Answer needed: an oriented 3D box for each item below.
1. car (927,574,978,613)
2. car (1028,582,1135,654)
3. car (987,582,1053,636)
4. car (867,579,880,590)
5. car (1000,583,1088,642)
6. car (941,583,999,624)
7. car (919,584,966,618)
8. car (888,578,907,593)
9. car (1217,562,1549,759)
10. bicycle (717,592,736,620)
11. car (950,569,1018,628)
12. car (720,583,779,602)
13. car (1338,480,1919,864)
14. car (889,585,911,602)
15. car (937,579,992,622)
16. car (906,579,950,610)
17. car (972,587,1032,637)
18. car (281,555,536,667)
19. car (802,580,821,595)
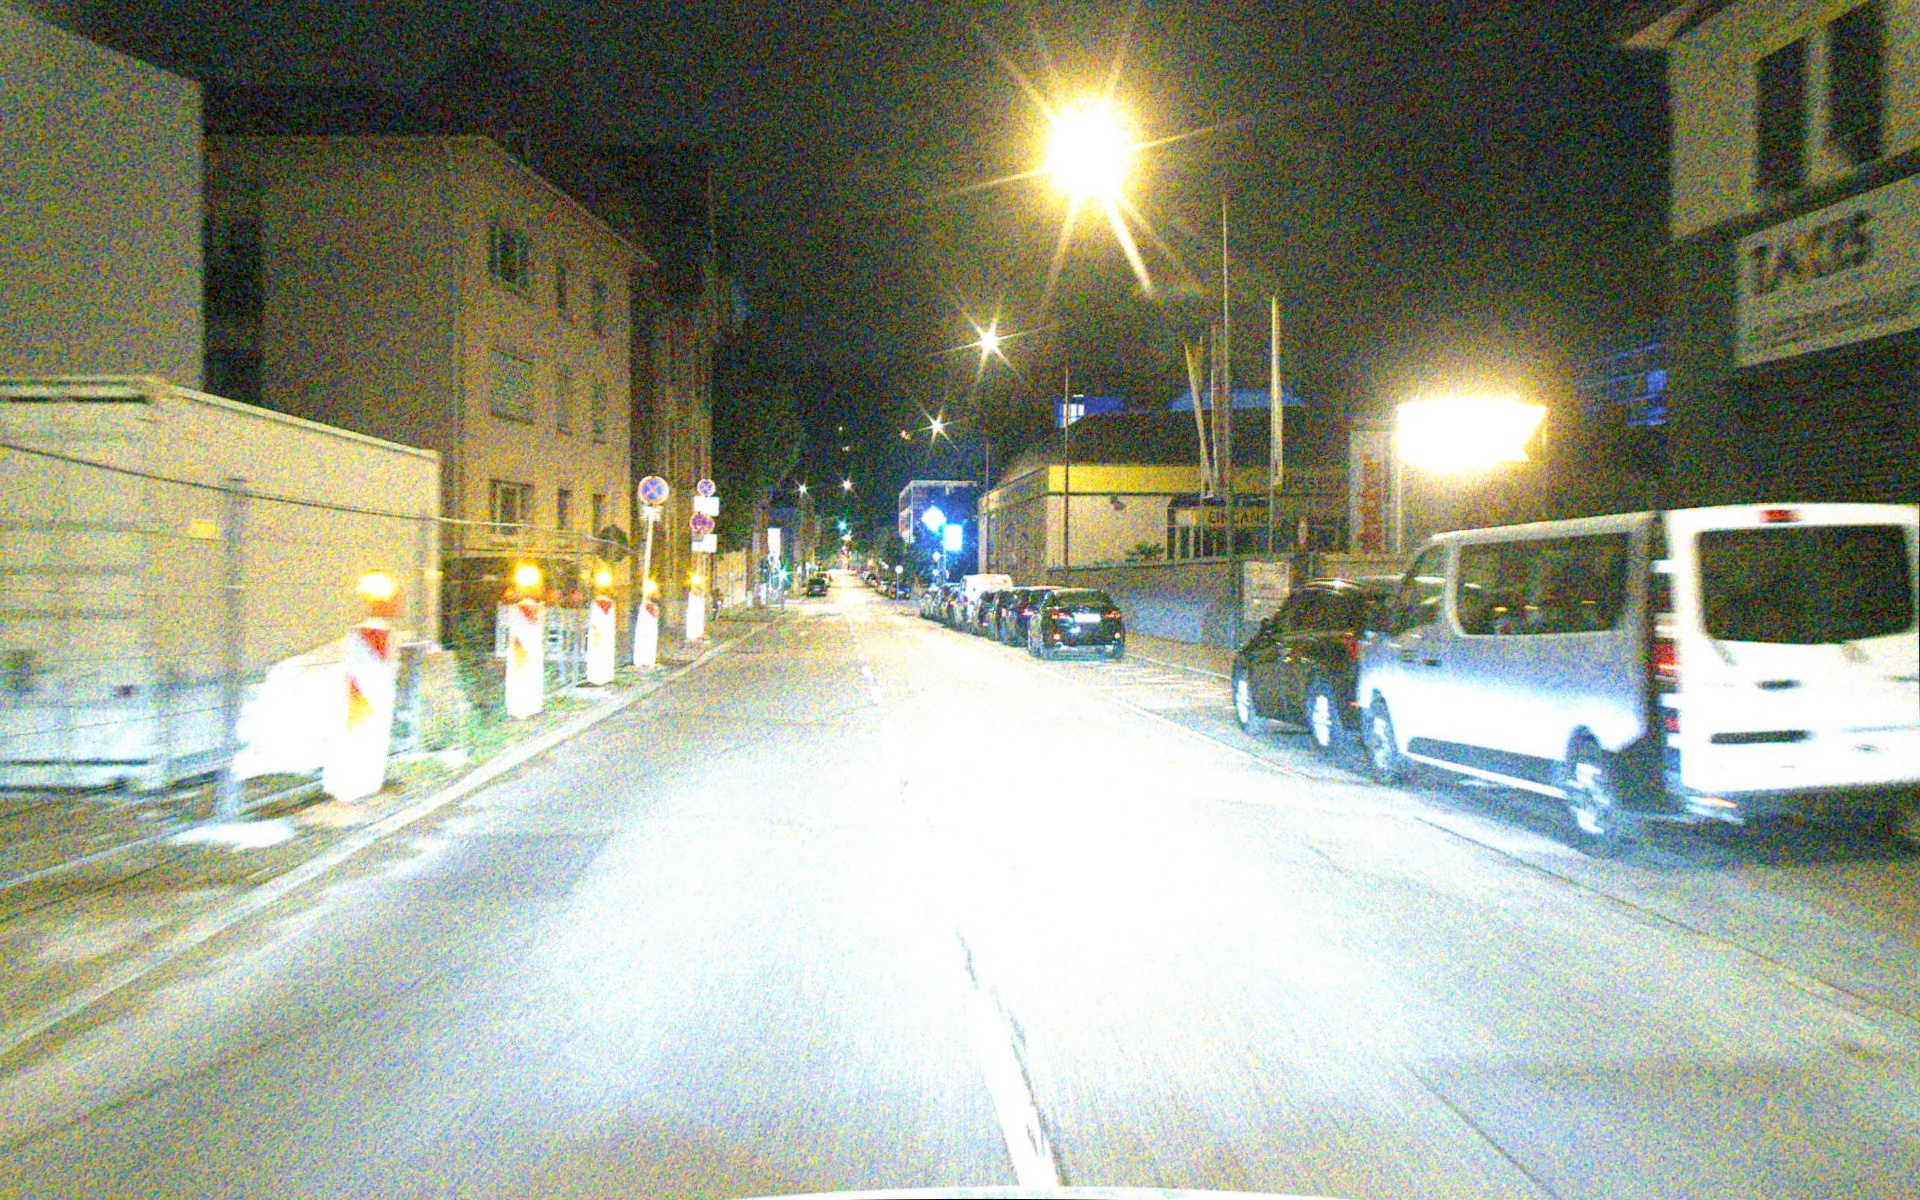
[{"bbox_3d":[-0.368,-0.307,72.917,1.788,1.651,4.452,-1,1,-6],"label":"car"},{"bbox_3d":[2.554,0.356,35.808,1.743,1.451,4.478,0,0,-3],"label":"car"},{"bbox_3d":[1.697,0.238,47.739,1.563,1.492,3.716,0,0,-4],"label":"car"},{"bbox_3d":[-13.021,-2.358,248.088,1.954,1.546,3.998,0,0,-3],"label":"car"},{"bbox_3d":[2.121,0.310,42.667,1.744,1.451,3.888,0,0,-5],"label":"car"},{"bbox_3d":[0.344,0.096,62.695,1.781,1.452,4.185,-2,1,-5],"label":"car"},{"bbox_3d":[-0.864,0.044,78.695,1.741,1.571,4.540,0,0,-7],"label":"car"},{"bbox_3d":[-6.697,-1.535,175.976,1.954,1.546,3.998,0,0,-3],"label":"car"},{"bbox_3d":[4.019,0.517,16.499,1.784,1.627,4.214,-3,0,-6],"label":"car"},{"bbox_3d":[-9.100,0.243,64.511,0.607,1.070,1.720,0,0,-4],"label":"bicycle"},{"bbox_3d":[0.795,-0.081,57.968,1.766,1.907,4.767,-2,1,-6],"label":"car"},{"bbox_3d":[-16.168,-0.569,127.140,4.352,1.475,1.998,0,0,-5],"label":"car"},{"bbox_3d":[4.428,0.352,11.346,2.031,1.962,5.365,-2,0,-5],"label":"car"},{"bbox_3d":[-5.521,-0.601,152.690,1.954,1.542,3.998,1,1,-3],"label":"car"},{"bbox_3d":[0.154,-0.007,67.687,1.788,1.616,4.623,-1,1,-5],"label":"car"},{"bbox_3d":[-1.658,-0.269,84.922,1.824,1.515,4.540,0,0,-7],"label":"car"},{"bbox_3d":[1.282,0.358,52.253,1.563,1.492,3.889,0,0,-4],"label":"car"},{"bbox_3d":[-9.896,0.180,29.842,3.902,1.922,1.910,0,0,8],"label":"car"},{"bbox_3d":[-15.301,-1.273,170.541,1.954,1.528,3.997,0,0,-4],"label":"car"}]
